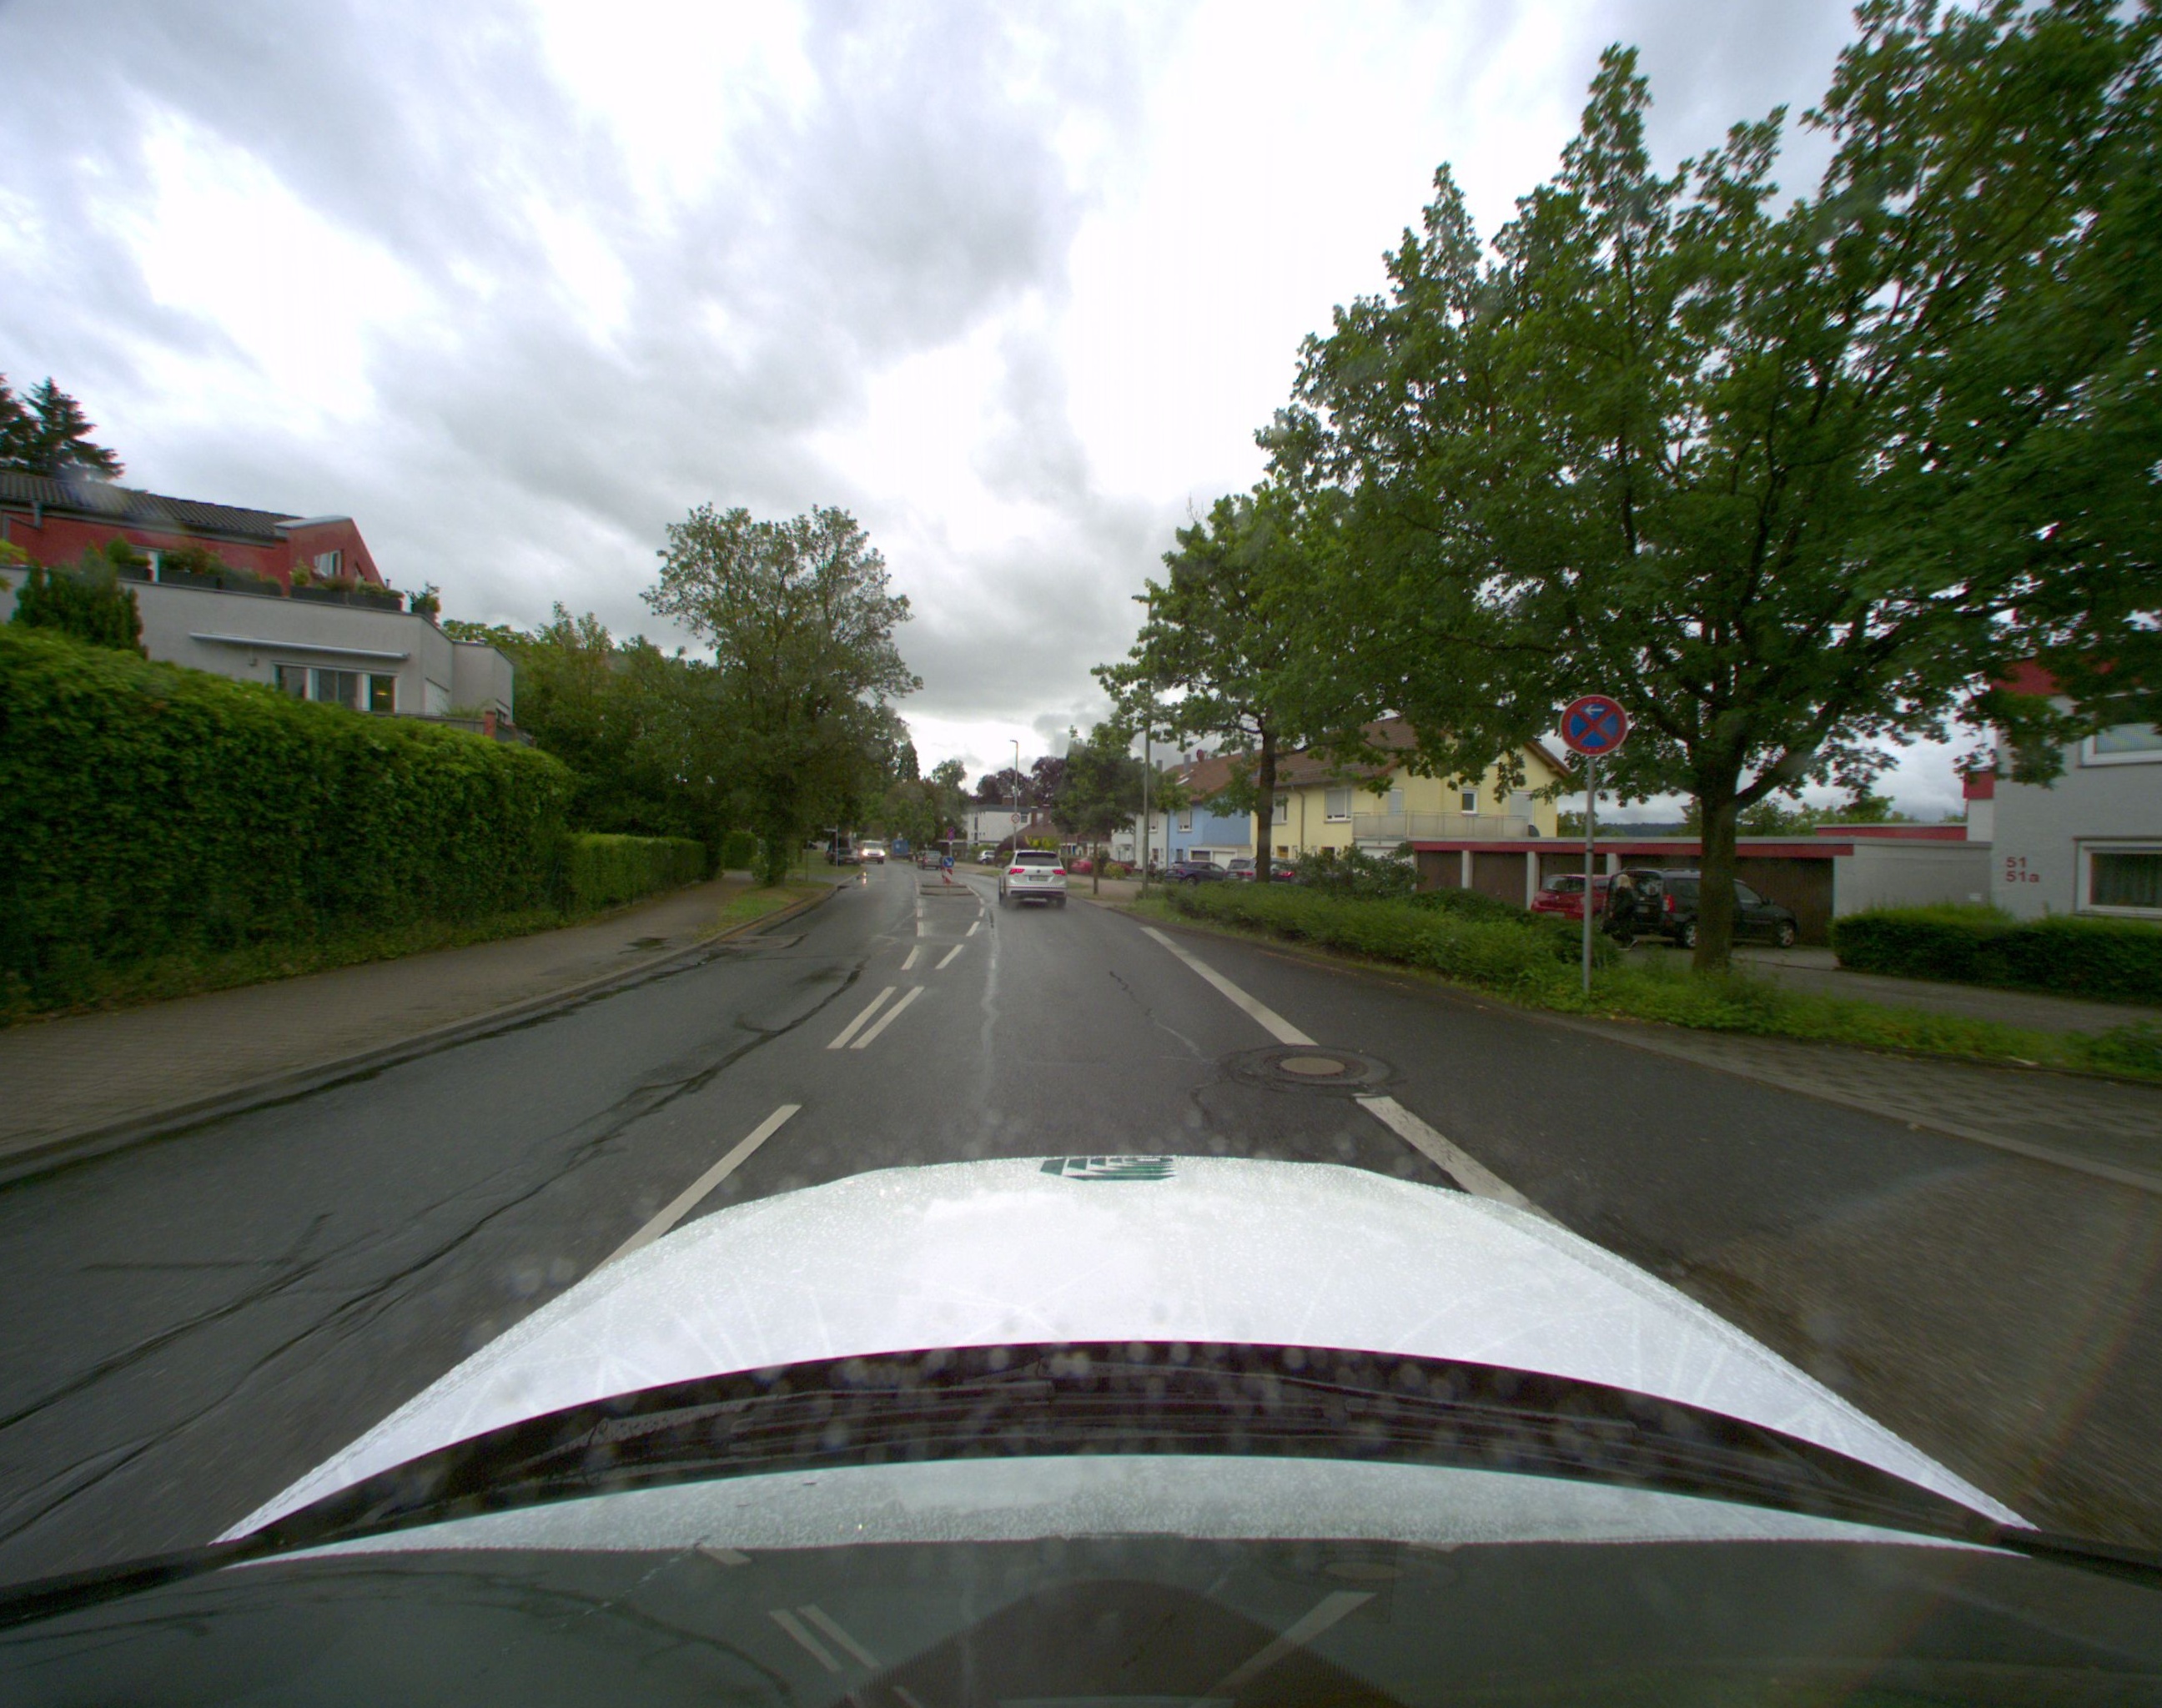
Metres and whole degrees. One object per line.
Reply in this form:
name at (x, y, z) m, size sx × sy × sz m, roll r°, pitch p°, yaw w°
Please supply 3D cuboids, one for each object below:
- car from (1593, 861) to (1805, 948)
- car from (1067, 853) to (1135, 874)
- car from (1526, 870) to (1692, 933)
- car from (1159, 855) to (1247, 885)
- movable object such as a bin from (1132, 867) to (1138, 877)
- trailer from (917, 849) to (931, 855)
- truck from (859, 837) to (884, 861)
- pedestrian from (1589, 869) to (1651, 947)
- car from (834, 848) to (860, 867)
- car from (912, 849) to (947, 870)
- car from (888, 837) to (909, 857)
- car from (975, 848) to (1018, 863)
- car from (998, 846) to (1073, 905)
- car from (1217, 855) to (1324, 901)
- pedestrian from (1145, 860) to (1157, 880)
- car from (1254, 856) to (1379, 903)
car at (13.585, 1.060, 17.922) m, size 4.002 × 1.721 × 1.911 m, roll 1°, pitch 0°, yaw -21°
car at (1.373, 0.671, 55.604) m, size 4.329 × 1.260 × 1.663 m, roll 3°, pitch 0°, yaw -30°
car at (13.394, 1.171, 20.680) m, size 3.706 × 1.442 × 1.695 m, roll 1°, pitch 0°, yaw -21°
car at (6.026, 0.800, 40.258) m, size 4.003 × 1.387 × 1.662 m, roll 2°, pitch 0°, yaw -22°
movable object such as a bin at (3.541, 1.175, 53.695) m, size 0.256 × 0.626 × 0.323 m, roll 1°, pitch 0°, yaw -19°
trailer at (-25.324, -0.349, 131.368) m, size 2.047 × 0.883 × 1.357 m, roll 3°, pitch 0°, yaw -17°
truck at (-20.779, -0.494, 80.569) m, size 2.221 × 2.204 × 6.429 m, roll 2°, pitch 0°, yaw -16°
pedestrian at (11.194, 1.109, 16.935) m, size 0.667 × 1.558 × 0.835 m, roll 2°, pitch 0°, yaw -25°
car at (-18.400, 0.230, 63.927) m, size 1.728 × 1.408 × 3.800 m, roll 2°, pitch 0°, yaw -20°
car at (-12.054, 0.425, 64.712) m, size 1.777 × 1.551 × 3.967 m, roll 1°, pitch 0°, yaw -25°
car at (-24.104, -0.963, 107.665) m, size 2.000 × 2.586 × 5.596 m, roll -1°, pitch 1°, yaw -20°
car at (-8.558, 0.190, 82.640) m, size 4.002 × 1.442 × 1.834 m, roll 1°, pitch 0°, yaw -22°
car at (-1.471, 0.614, 24.910) m, size 1.865 × 1.651 × 3.986 m, roll 1°, pitch 0°, yaw -10°
car at (7.919, 0.991, 34.004) m, size 4.201 × 1.671 × 1.707 m, roll 4°, pitch -1°, yaw -27°
pedestrian at (4.701, 1.080, 54.819) m, size 0.539 × 1.351 × 0.524 m, roll 2°, pitch 0°, yaw -33°
car at (8.956, 0.951, 31.021) m, size 4.192 × 1.671 × 1.979 m, roll 1°, pitch 0°, yaw -19°
